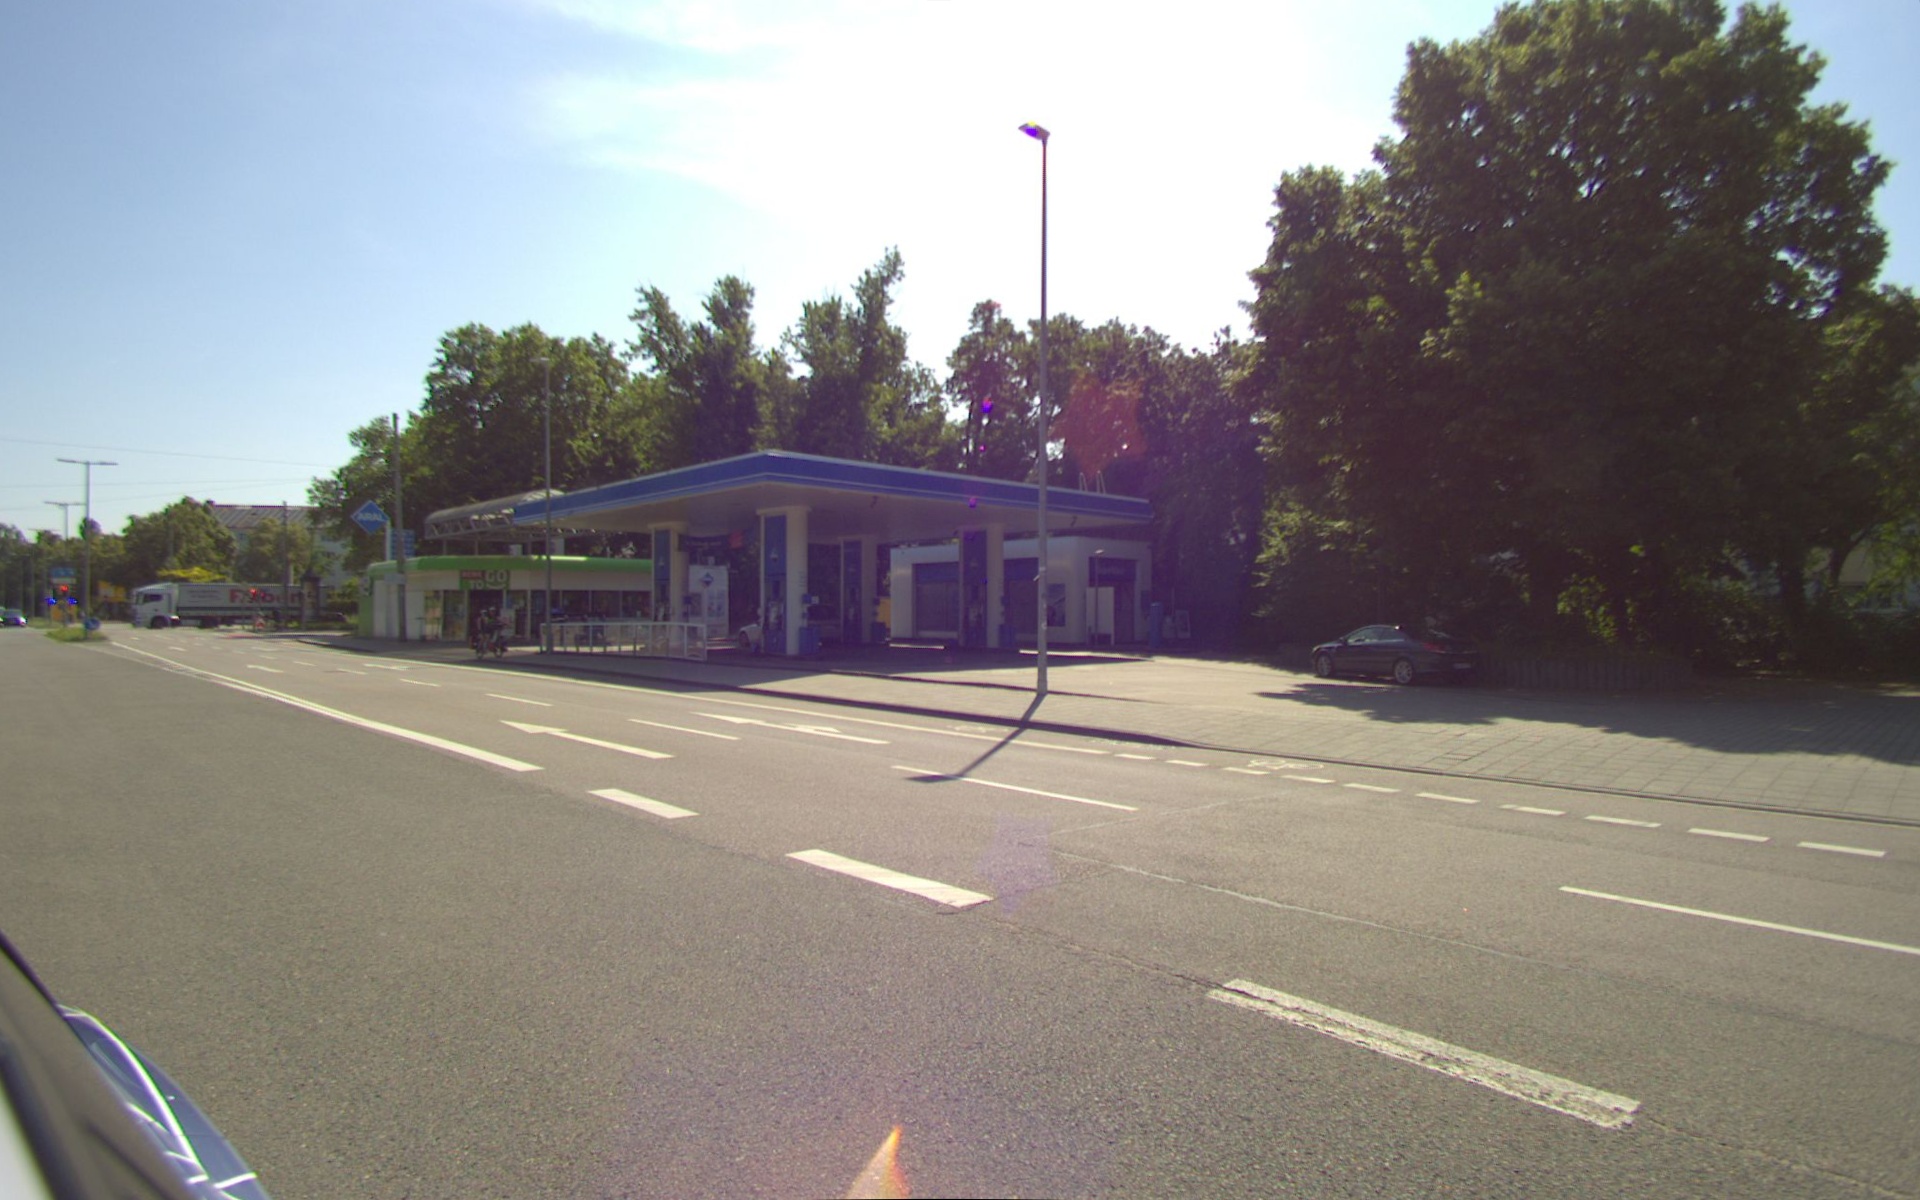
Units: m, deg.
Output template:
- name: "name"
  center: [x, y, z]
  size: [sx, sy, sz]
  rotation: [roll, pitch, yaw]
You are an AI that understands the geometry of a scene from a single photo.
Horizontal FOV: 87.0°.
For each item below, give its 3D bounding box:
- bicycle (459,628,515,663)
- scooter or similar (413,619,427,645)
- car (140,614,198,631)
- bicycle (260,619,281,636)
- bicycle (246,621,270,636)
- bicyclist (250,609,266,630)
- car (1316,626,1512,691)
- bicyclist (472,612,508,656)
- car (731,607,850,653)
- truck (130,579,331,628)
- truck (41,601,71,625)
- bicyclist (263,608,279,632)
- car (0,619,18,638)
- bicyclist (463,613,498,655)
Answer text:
- name: "bicycle"
  center: [-16.221, 1.537, 34.676]
  size: [2.773, 1.103, 0.816]
  rotation: [-2, 1, 45]
- name: "scooter or similar"
  center: [-25.774, 1.523, 48.305]
  size: [0.435, 1.247, 1.349]
  rotation: [1, -1, -34]
- name: "car"
  center: [-73.267, 2.091, 93.739]
  size: [4.348, 1.522, 1.751]
  rotation: [-2, -2, 9]
- name: "bicycle"
  center: [-49.470, 1.940, 72.626]
  size: [0.926, 1.184, 2.213]
  rotation: [1, -1, -42]
- name: "bicycle"
  center: [-48.990, 1.977, 70.600]
  size: [2.072, 1.066, 0.743]
  rotation: [-1, -1, 37]
- name: "bicyclist"
  center: [-48.877, 1.332, 70.473]
  size: [0.738, 1.431, 0.701]
  rotation: [-3, -2, 37]
- name: "car"
  center: [10.675, 1.319, 24.185]
  size: [1.774, 1.356, 4.257]
  rotation: [1, -1, -21]
- name: "bicyclist"
  center: [-16.080, 1.166, 34.619]
  size: [0.833, 1.447, 0.837]
  rotation: [-5, -3, 44]
- name: "car"
  center: [-7.172, 1.213, 42.338]
  size: [1.823, 1.795, 5.968]
  rotation: [1, -2, -45]
- name: "truck"
  center: [-64.060, 0.375, 89.365]
  size: [14.090, 4.038, 2.857]
  rotation: [1, -2, -44]
- name: "truck"
  center: [-104.050, 1.508, 116.416]
  size: [2.303, 2.688, 7.366]
  rotation: [2, -2, -43]
- name: "bicyclist"
  center: [-49.375, 1.406, 72.520]
  size: [0.825, 1.687, 0.827]
  rotation: [0, -2, -45]
- name: "car"
  center: [-83.762, 2.477, 88.353]
  size: [4.503, 1.594, 1.732]
  rotation: [-1, -1, 41]
- name: "bicyclist"
  center: [-16.686, 1.177, 35.209]
  size: [0.832, 1.446, 0.837]
  rotation: [-3, -2, 43]
